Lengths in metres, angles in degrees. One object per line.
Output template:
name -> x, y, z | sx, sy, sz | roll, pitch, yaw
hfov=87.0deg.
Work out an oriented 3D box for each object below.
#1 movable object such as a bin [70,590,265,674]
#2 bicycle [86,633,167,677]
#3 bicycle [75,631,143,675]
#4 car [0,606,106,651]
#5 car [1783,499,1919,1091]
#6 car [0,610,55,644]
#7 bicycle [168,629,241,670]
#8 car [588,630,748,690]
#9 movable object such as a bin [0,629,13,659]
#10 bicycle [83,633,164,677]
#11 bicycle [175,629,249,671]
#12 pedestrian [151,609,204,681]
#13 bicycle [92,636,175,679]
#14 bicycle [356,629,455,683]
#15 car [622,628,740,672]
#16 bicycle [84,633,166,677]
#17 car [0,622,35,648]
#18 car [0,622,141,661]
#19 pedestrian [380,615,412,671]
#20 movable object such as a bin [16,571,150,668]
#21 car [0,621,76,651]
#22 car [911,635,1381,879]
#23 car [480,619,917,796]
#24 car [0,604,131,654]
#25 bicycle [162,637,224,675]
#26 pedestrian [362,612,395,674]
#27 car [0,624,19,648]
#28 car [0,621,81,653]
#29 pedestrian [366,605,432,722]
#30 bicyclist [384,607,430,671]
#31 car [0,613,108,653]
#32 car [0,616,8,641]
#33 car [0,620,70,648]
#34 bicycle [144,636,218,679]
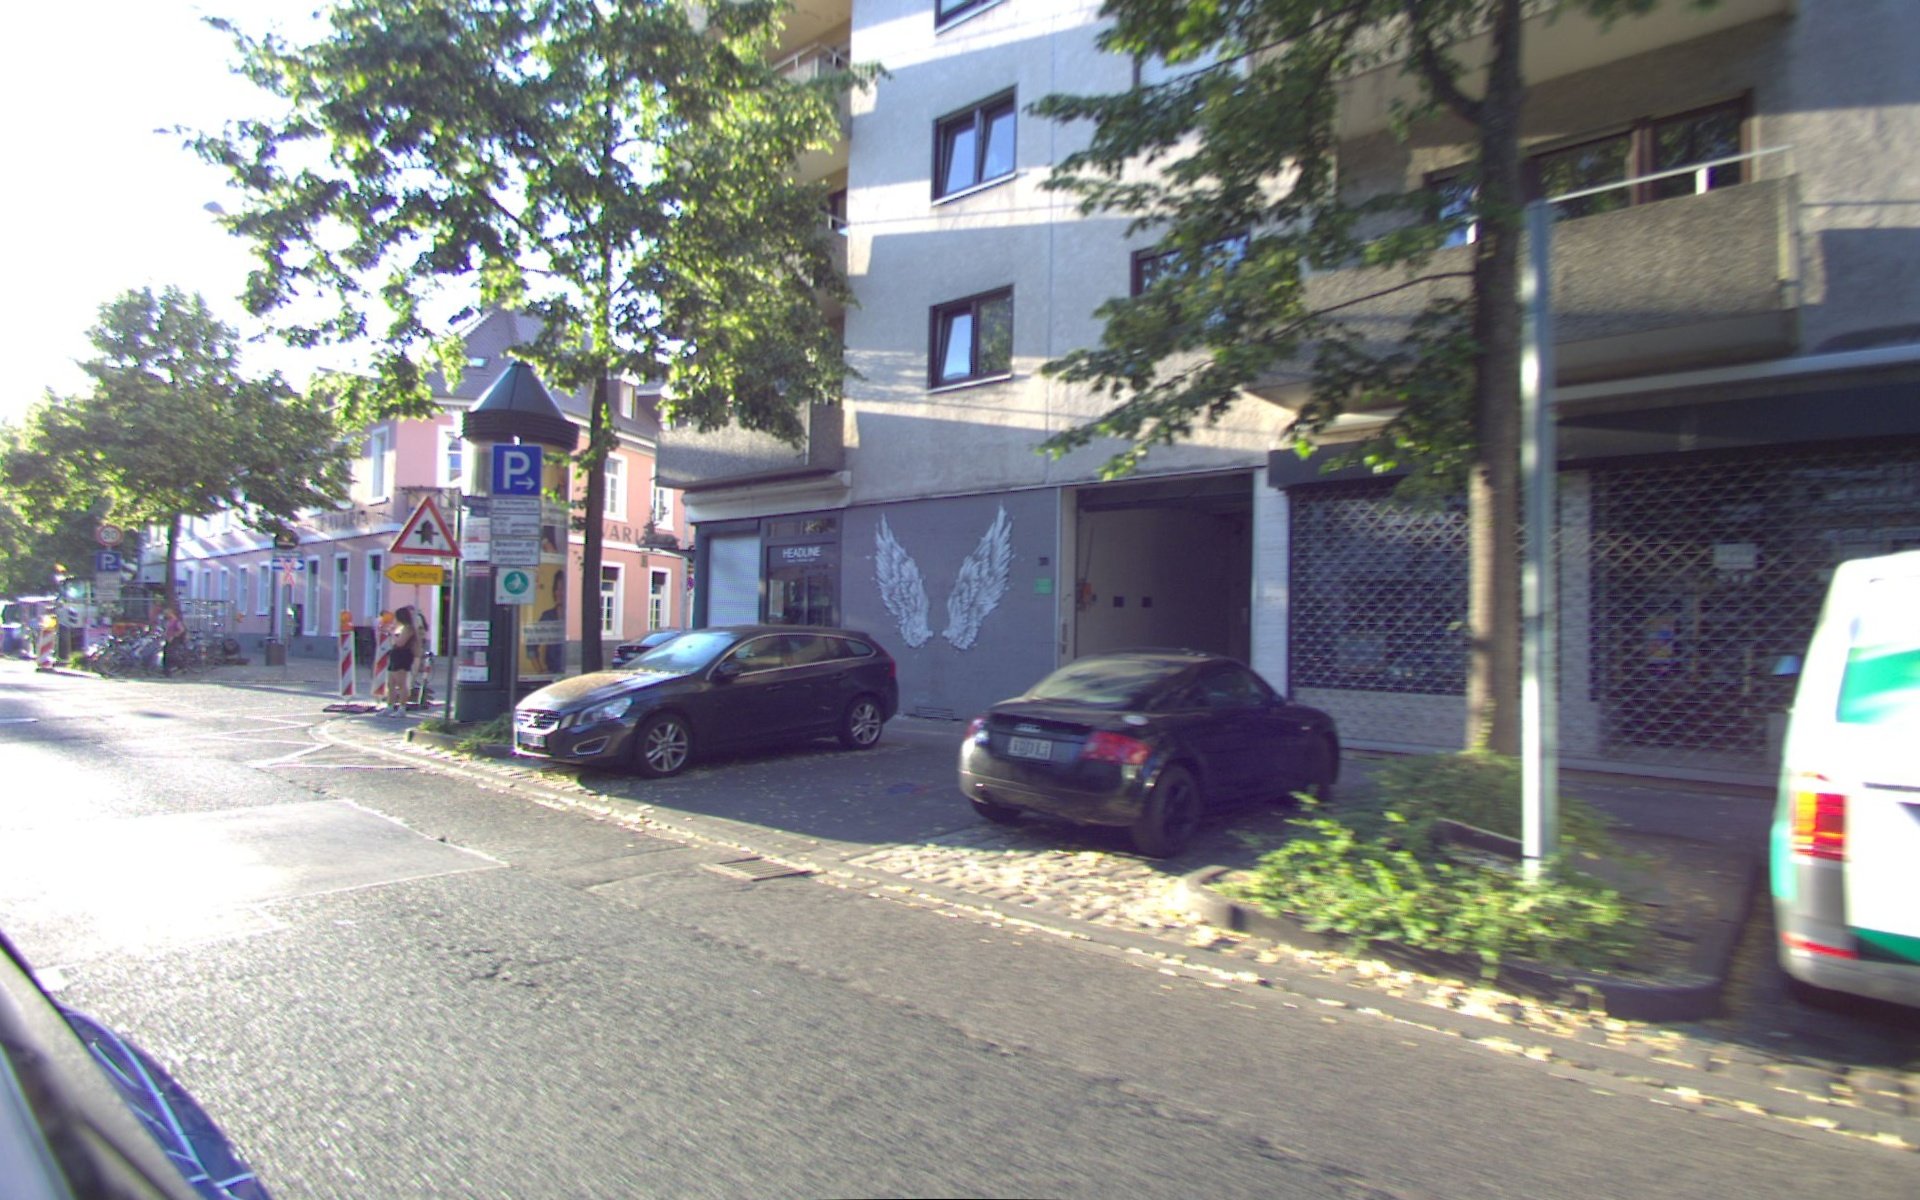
movable object such as a bin -> -25.868, 1.071, 33.383 | 2.278, 2.514, 5.761 | 1, -2, -6
bicycle -> -22.939, 1.496, 27.877 | 0.444, 1.086, 1.665 | 0, 1, 40
bicycle -> -23.766, 1.461, 28.284 | 0.439, 1.125, 1.545 | 0, 1, 8
car -> -42.019, 1.313, 46.136 | 2.068, 1.991, 4.436 | -2, -3, 42
car -> 5.176, 0.690, 4.679 | 1.990, 1.976, 4.524 | -1, -2, 41
car -> -55.041, 1.519, 57.739 | 1.973, 1.922, 4.819 | -1, -3, 41
bicycle -> -22.205, 1.442, 29.783 | 0.445, 1.157, 1.663 | 0, -1, 44
car -> -7.455, 1.501, 26.307 | 1.984, 1.390, 4.183 | 0, -2, 18
movable object such as a bin -> -35.654, 1.614, 37.514 | 0.883, 1.113, 0.682 | -1, -4, 43
bicycle -> -22.599, 1.464, 27.367 | 1.662, 1.086, 0.445 | -1, 1, -41
bicycle -> -21.692, 1.441, 29.366 | 0.445, 1.157, 1.663 | 0, -1, 44
pedestrian -> -19.872, 1.137, 25.709 | 1.039, 1.779, 0.808 | -1, -3, 39
bicycle -> -21.613, 1.491, 26.491 | 1.662, 1.029, 0.445 | -1, 1, -41
bicycle -> -13.048, 1.305, 23.884 | 0.582, 1.202, 2.107 | -2, -3, 25
car -> -10.008, 1.783, 36.655 | 1.982, 1.482, 4.501 | -1, -2, 18
bicycle -> -22.202, 1.452, 26.936 | 1.662, 1.086, 0.445 | -1, 1, -41
car -> -58.945, 2.143, 61.417 | 1.965, 1.567, 3.992 | -2, -3, 43
car -> -35.784, 1.644, 40.447 | 1.893, 1.481, 4.543 | -2, -2, 44
pedestrian -> -16.997, 1.290, 30.513 | 0.718, 1.662, 0.501 | 2, -1, 32
movable object such as a bin -> -29.197, 0.674, 33.652 | 5.301, 2.992, 2.597 | -1, -3, 41
car -> -47.271, 1.807, 51.035 | 1.905, 1.513, 3.879 | -2, -2, 43
car -> 1.670, 1.032, 8.261 | 2.044, 1.402, 3.748 | 0, -1, 44
car -> -2.655, 1.003, 11.251 | 1.810, 1.553, 4.500 | -1, -2, 40
car -> -38.024, 1.222, 42.664 | 1.963, 1.991, 4.439 | -1, -2, 39
bicycle -> -21.325, 1.541, 28.150 | 0.445, 0.987, 1.309 | 0, -1, 44
pedestrian -> -17.027, 1.247, 29.635 | 0.718, 1.750, 0.501 | 2, -1, 32
car -> -61.125, 2.202, 62.664 | 1.962, 1.495, 3.995 | -1, -3, 41
car -> -45.303, 1.754, 48.665 | 1.838, 1.513, 4.287 | -1, -2, 36
pedestrian -> -8.500, 0.943, 15.329 | 0.701, 1.699, 0.835 | 2, -3, -40
bicyclist -> -13.050, 0.921, 23.881 | 0.582, 1.469, 0.737 | -2, -3, 25
car -> -40.103, 1.431, 44.274 | 1.860, 1.649, 4.086 | -2, -2, 42
car -> -69.697, 1.970, 70.979 | 1.807, 1.820, 4.093 | -2, -3, 43
car -> -51.347, 1.843, 54.925 | 1.734, 1.496, 4.429 | -2, -2, 43
bicycle -> -20.612, 1.505, 26.800 | 0.470, 1.067, 1.474 | 0, -1, 35
